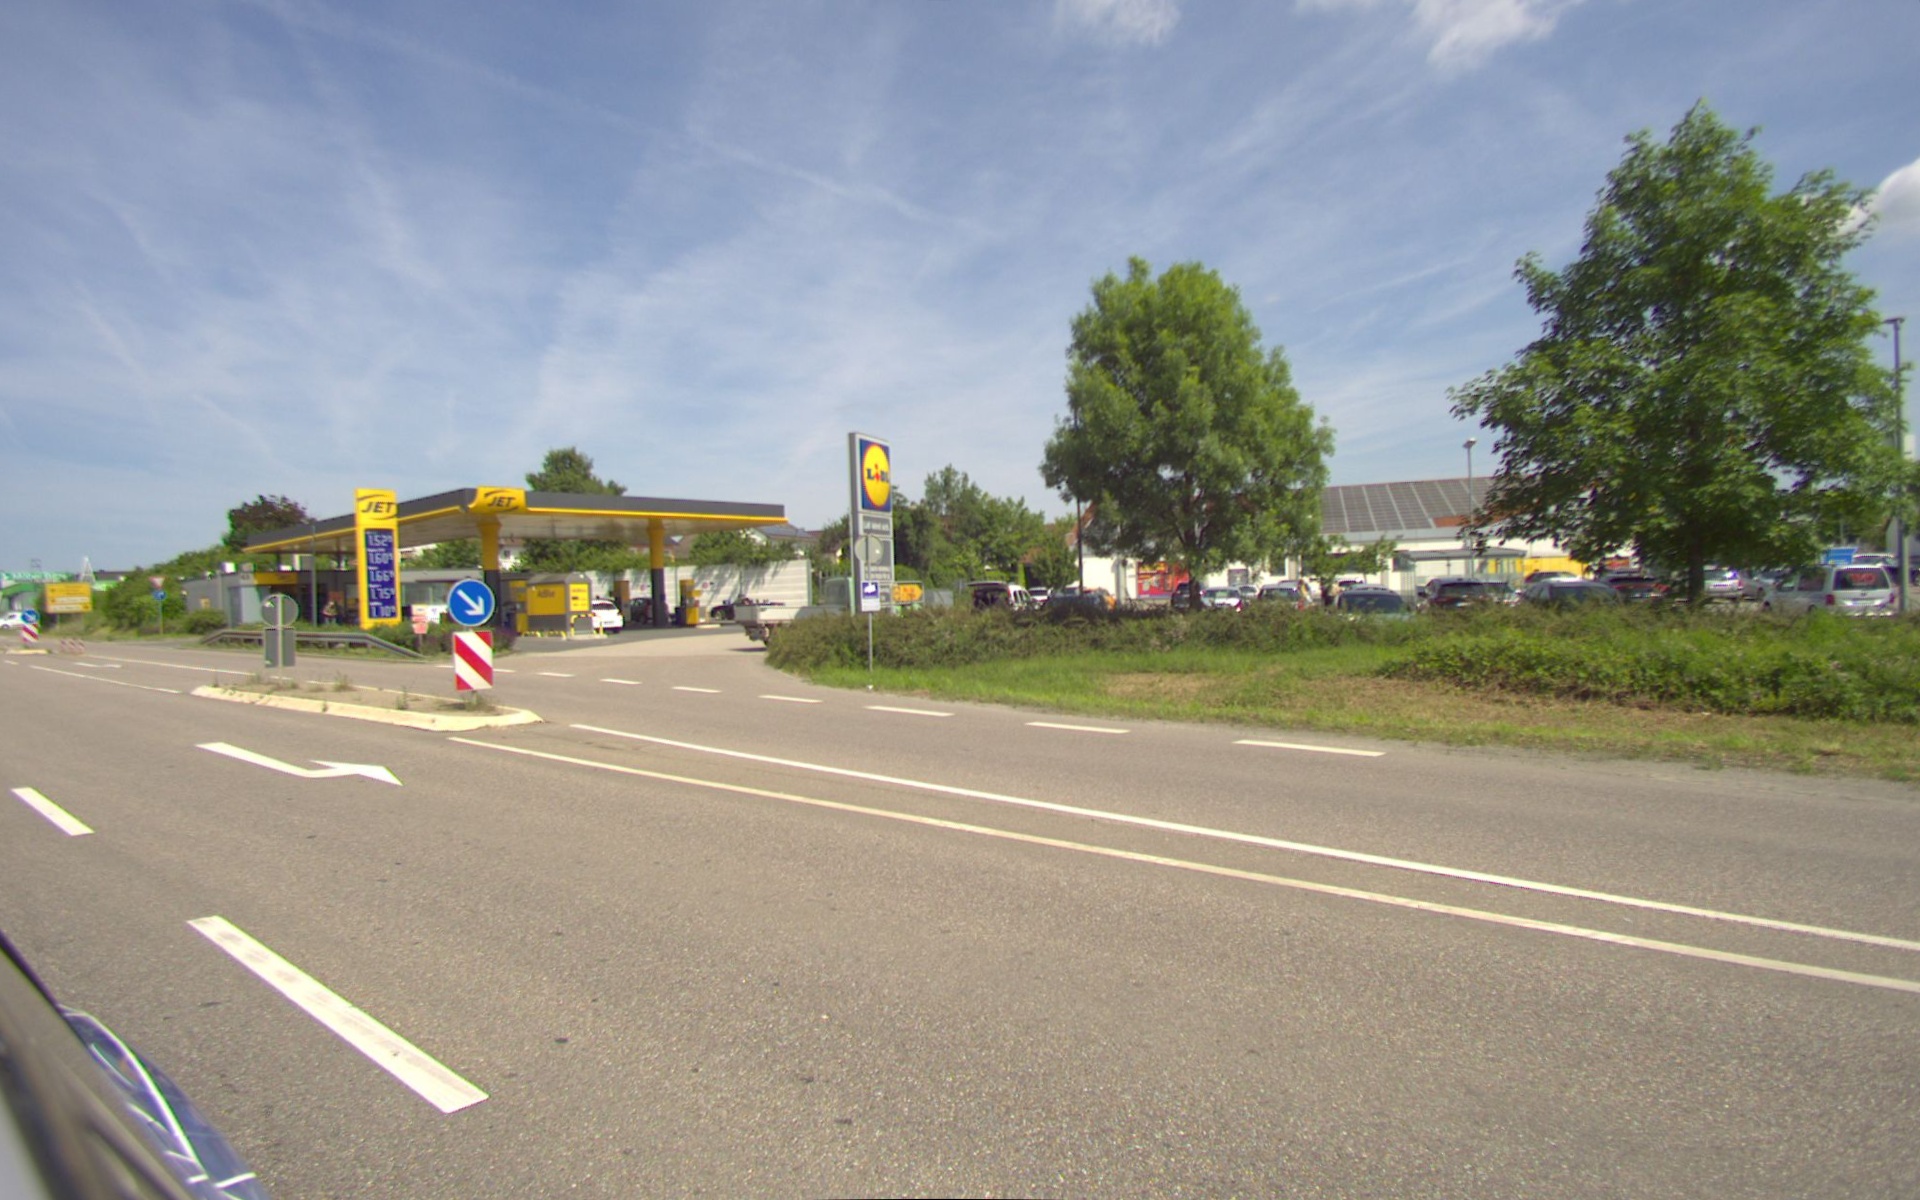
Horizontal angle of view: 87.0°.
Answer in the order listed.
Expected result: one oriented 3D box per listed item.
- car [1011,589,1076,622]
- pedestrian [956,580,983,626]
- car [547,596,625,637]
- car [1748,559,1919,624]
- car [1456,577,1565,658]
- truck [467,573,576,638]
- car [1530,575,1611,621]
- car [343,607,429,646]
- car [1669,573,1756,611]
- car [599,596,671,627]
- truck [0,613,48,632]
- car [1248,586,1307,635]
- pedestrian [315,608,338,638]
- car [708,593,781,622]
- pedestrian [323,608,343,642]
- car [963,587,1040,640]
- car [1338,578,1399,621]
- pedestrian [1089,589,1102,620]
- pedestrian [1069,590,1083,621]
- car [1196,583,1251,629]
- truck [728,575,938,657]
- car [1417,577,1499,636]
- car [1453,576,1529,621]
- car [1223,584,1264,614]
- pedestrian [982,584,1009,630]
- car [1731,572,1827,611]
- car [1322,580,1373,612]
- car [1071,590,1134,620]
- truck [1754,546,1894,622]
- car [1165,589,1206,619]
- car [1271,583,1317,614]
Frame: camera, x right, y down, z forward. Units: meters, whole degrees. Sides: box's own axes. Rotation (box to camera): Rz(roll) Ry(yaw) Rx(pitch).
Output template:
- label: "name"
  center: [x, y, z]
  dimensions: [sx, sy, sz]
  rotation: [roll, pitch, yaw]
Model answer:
- label: "car"
  center: [4.463, 0.264, 53.646]
  dimensions: [1.765, 1.551, 3.956]
  rotation: [-3, 0, 33]
- label: "pedestrian"
  center: [0.342, 0.110, 35.669]
  dimensions: [0.801, 1.587, 0.701]
  rotation: [-1, 0, 13]
- label: "car"
  center: [-16.729, 0.762, 45.230]
  dimensions: [4.001, 1.741, 1.713]
  rotation: [-2, -3, 44]
- label: "car"
  center: [25.247, -0.219, 29.459]
  dimensions: [1.981, 1.708, 4.408]
  rotation: [-1, 0, 14]
- label: "car"
  center: [12.448, 0.356, 23.083]
  dimensions: [1.683, 1.670, 3.971]
  rotation: [-1, 0, 22]
- label: "truck"
  center: [-21.070, 0.250, 48.471]
  dimensions: [6.278, 2.944, 2.222]
  rotation: [0, 0, 40]
- label: "car"
  center: [21.617, -0.083, 35.991]
  dimensions: [1.767, 1.540, 3.972]
  rotation: [-1, 0, 21]
- label: "car"
  center: [-26.686, 1.245, 46.987]
  dimensions: [4.258, 1.719, 1.975]
  rotation: [-2, -1, 38]
- label: "car"
  center: [32.536, -0.346, 43.889]
  dimensions: [1.865, 1.553, 4.231]
  rotation: [-1, 0, 20]
- label: "car"
  center: [-18.281, 0.661, 56.921]
  dimensions: [3.862, 1.625, 1.735]
  rotation: [-2, -1, 31]
- label: "truck"
  center: [-111.646, 2.688, 120.156]
  dimensions: [1.996, 2.024, 4.717]
  rotation: [-1, 1, 36]
- label: "car"
  center: [10.914, 0.320, 34.738]
  dimensions: [1.769, 1.513, 4.122]
  rotation: [-1, 1, 18]
- label: "pedestrian"
  center: [-30.770, 1.119, 49.139]
  dimensions: [0.901, 1.438, 0.495]
  rotation: [-1, 0, -39]
- label: "car"
  center: [-12.672, 0.459, 59.485]
  dimensions: [3.839, 1.625, 1.745]
  rotation: [-1, -1, 14]
- label: "pedestrian"
  center: [-34.835, 1.386, 56.207]
  dimensions: [0.639, 1.852, 0.788]
  rotation: [-2, 0, 41]
- label: "car"
  center: [1.625, 0.449, 37.866]
  dimensions: [1.865, 1.825, 4.145]
  rotation: [-1, 0, 17]
- label: "car"
  center: [15.306, -0.025, 38.074]
  dimensions: [1.764, 1.540, 3.977]
  rotation: [-1, 0, 17]
- label: "pedestrian"
  center: [6.851, 0.213, 51.132]
  dimensions: [0.503, 1.564, 0.512]
  rotation: [-1, 0, 28]
- label: "pedestrian"
  center: [5.814, 0.271, 50.737]
  dimensions: [0.504, 1.564, 0.512]
  rotation: [-1, 0, 29]
- label: "car"
  center: [10.371, 0.191, 39.621]
  dimensions: [1.850, 1.688, 4.399]
  rotation: [-1, 0, 18]
- label: "truck"
  center: [-3.959, 0.437, 32.163]
  dimensions: [6.243, 2.393, 2.255]
  rotation: [-1, -1, -32]
- label: "car"
  center: [15.695, 0.159, 32.075]
  dimensions: [1.898, 1.687, 3.974]
  rotation: [-1, 1, 20]
- label: "car"
  center: [19.362, -0.064, 37.067]
  dimensions: [1.764, 1.540, 3.977]
  rotation: [-1, 0, 17]
- label: "car"
  center: [14.352, -0.077, 51.368]
  dimensions: [1.868, 1.453, 3.981]
  rotation: [-1, 1, 15]
- label: "pedestrian"
  center: [1.258, 0.248, 35.604]
  dimensions: [0.801, 1.587, 0.701]
  rotation: [-1, 0, 13]
- label: "car"
  center: [34.951, -0.352, 43.344]
  dimensions: [1.865, 1.553, 4.231]
  rotation: [-1, 0, 20]
- label: "car"
  center: [18.994, -0.223, 49.703]
  dimensions: [1.868, 1.453, 3.981]
  rotation: [-1, 1, 15]
- label: "car"
  center: [7.554, 0.237, 53.454]
  dimensions: [1.879, 1.453, 3.958]
  rotation: [-1, 1, 31]
- label: "truck"
  center: [28.903, -0.523, 34.019]
  dimensions: [1.981, 2.383, 3.982]
  rotation: [-1, 0, 14]
- label: "car"
  center: [11.507, 0.182, 51.429]
  dimensions: [1.868, 1.453, 3.981]
  rotation: [-1, 1, 15]
- label: "car"
  center: [16.589, -0.106, 50.399]
  dimensions: [1.868, 1.453, 3.981]
  rotation: [-1, 1, 15]
